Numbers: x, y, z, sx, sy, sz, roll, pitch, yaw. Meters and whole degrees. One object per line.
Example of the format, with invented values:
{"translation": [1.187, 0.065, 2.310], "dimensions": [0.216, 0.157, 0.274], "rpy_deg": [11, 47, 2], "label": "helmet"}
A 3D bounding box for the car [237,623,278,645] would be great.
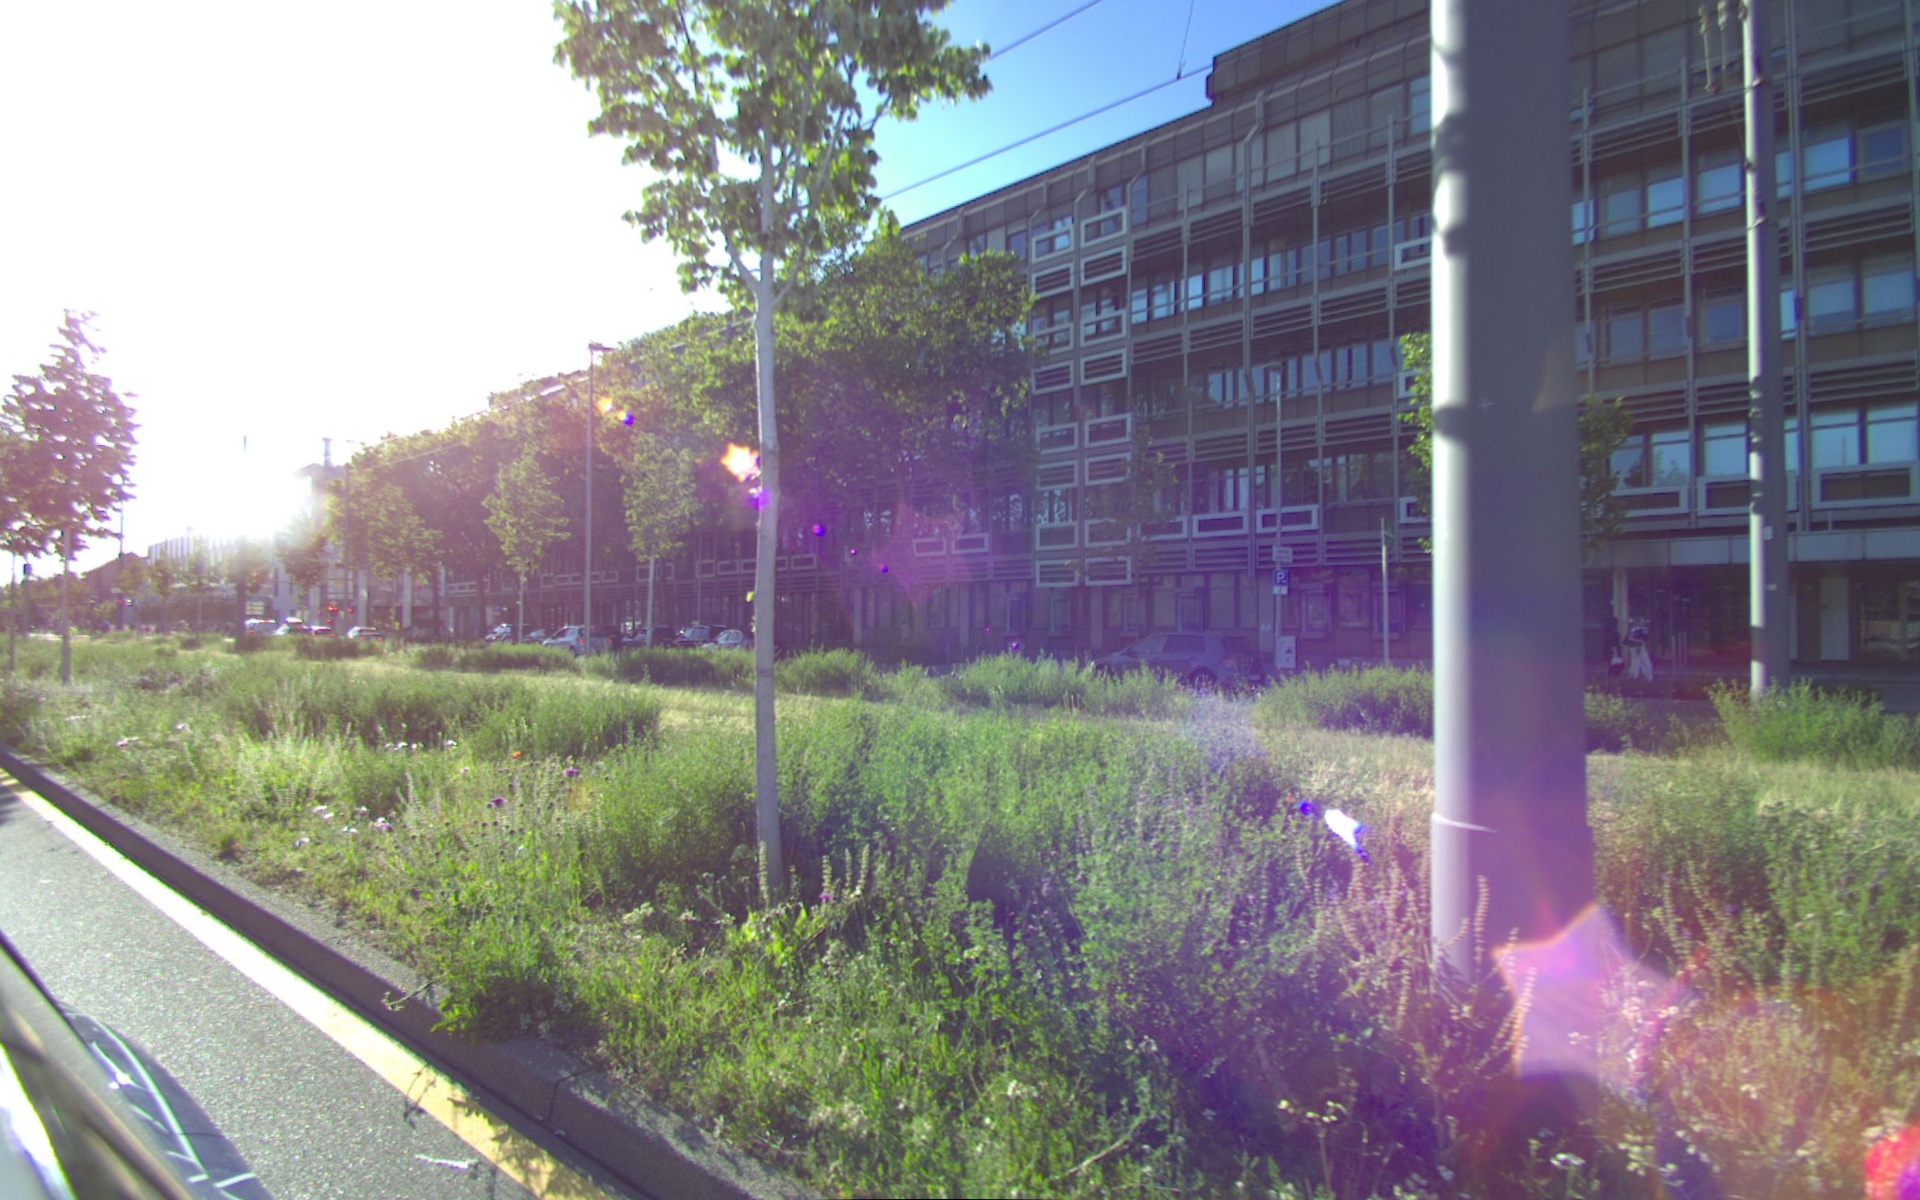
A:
{"translation": [-55.622, 2.663, 80.113], "dimensions": [3.780, 1.694, 1.840], "rpy_deg": [-2, -3, 43], "label": "car"}

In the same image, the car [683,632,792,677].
{"translation": [-8.011, 1.908, 36.187], "dimensions": [4.417, 1.507, 1.610], "rpy_deg": [-2, -3, 43], "label": "car"}

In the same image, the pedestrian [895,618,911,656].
{"translation": [-2.665, 1.729, 47.334], "dimensions": [0.639, 1.763, 0.477], "rpy_deg": [-2, -3, 43], "label": "pedestrian"}

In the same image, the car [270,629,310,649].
{"translation": [-48.008, 2.758, 72.502], "dimensions": [3.780, 1.390, 1.534], "rpy_deg": [-2, -3, 43], "label": "car"}

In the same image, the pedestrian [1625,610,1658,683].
{"translation": [16.288, 1.106, 24.188], "dimensions": [0.536, 1.735, 0.514], "rpy_deg": [-2, -3, 45], "label": "pedestrian"}

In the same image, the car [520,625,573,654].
{"translation": [-24.990, 2.360, 61.112], "dimensions": [3.525, 1.614, 1.491], "rpy_deg": [-1, 0, 41], "label": "car"}

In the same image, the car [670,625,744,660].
{"translation": [-12.359, 2.045, 49.356], "dimensions": [3.629, 1.555, 1.704], "rpy_deg": [-1, 0, 41], "label": "car"}

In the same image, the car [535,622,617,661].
{"translation": [-15.644, 1.680, 41.201], "dimensions": [3.780, 1.507, 1.610], "rpy_deg": [-2, -3, 43], "label": "car"}

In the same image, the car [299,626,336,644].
{"translation": [-50.584, 2.755, 79.693], "dimensions": [3.780, 1.390, 1.534], "rpy_deg": [-2, -3, 43], "label": "car"}

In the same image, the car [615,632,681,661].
{"translation": [-16.548, 2.457, 53.660], "dimensions": [3.629, 1.497, 1.704], "rpy_deg": [-1, -3, 41], "label": "car"}

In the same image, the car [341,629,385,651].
{"translation": [-41.651, 2.759, 70.599], "dimensions": [3.780, 1.507, 1.610], "rpy_deg": [-2, -3, 43], "label": "car"}

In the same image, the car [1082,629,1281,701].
{"translation": [4.896, 1.397, 22.712], "dimensions": [4.040, 1.397, 1.697], "rpy_deg": [-2, 0, 43], "label": "car"}

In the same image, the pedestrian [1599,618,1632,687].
{"translation": [15.383, 1.231, 23.752], "dimensions": [0.536, 1.590, 0.514], "rpy_deg": [-2, -3, 45], "label": "pedestrian"}

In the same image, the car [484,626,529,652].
{"translation": [-29.196, 2.487, 65.078], "dimensions": [3.264, 1.614, 1.372], "rpy_deg": [-1, 0, 41], "label": "car"}
